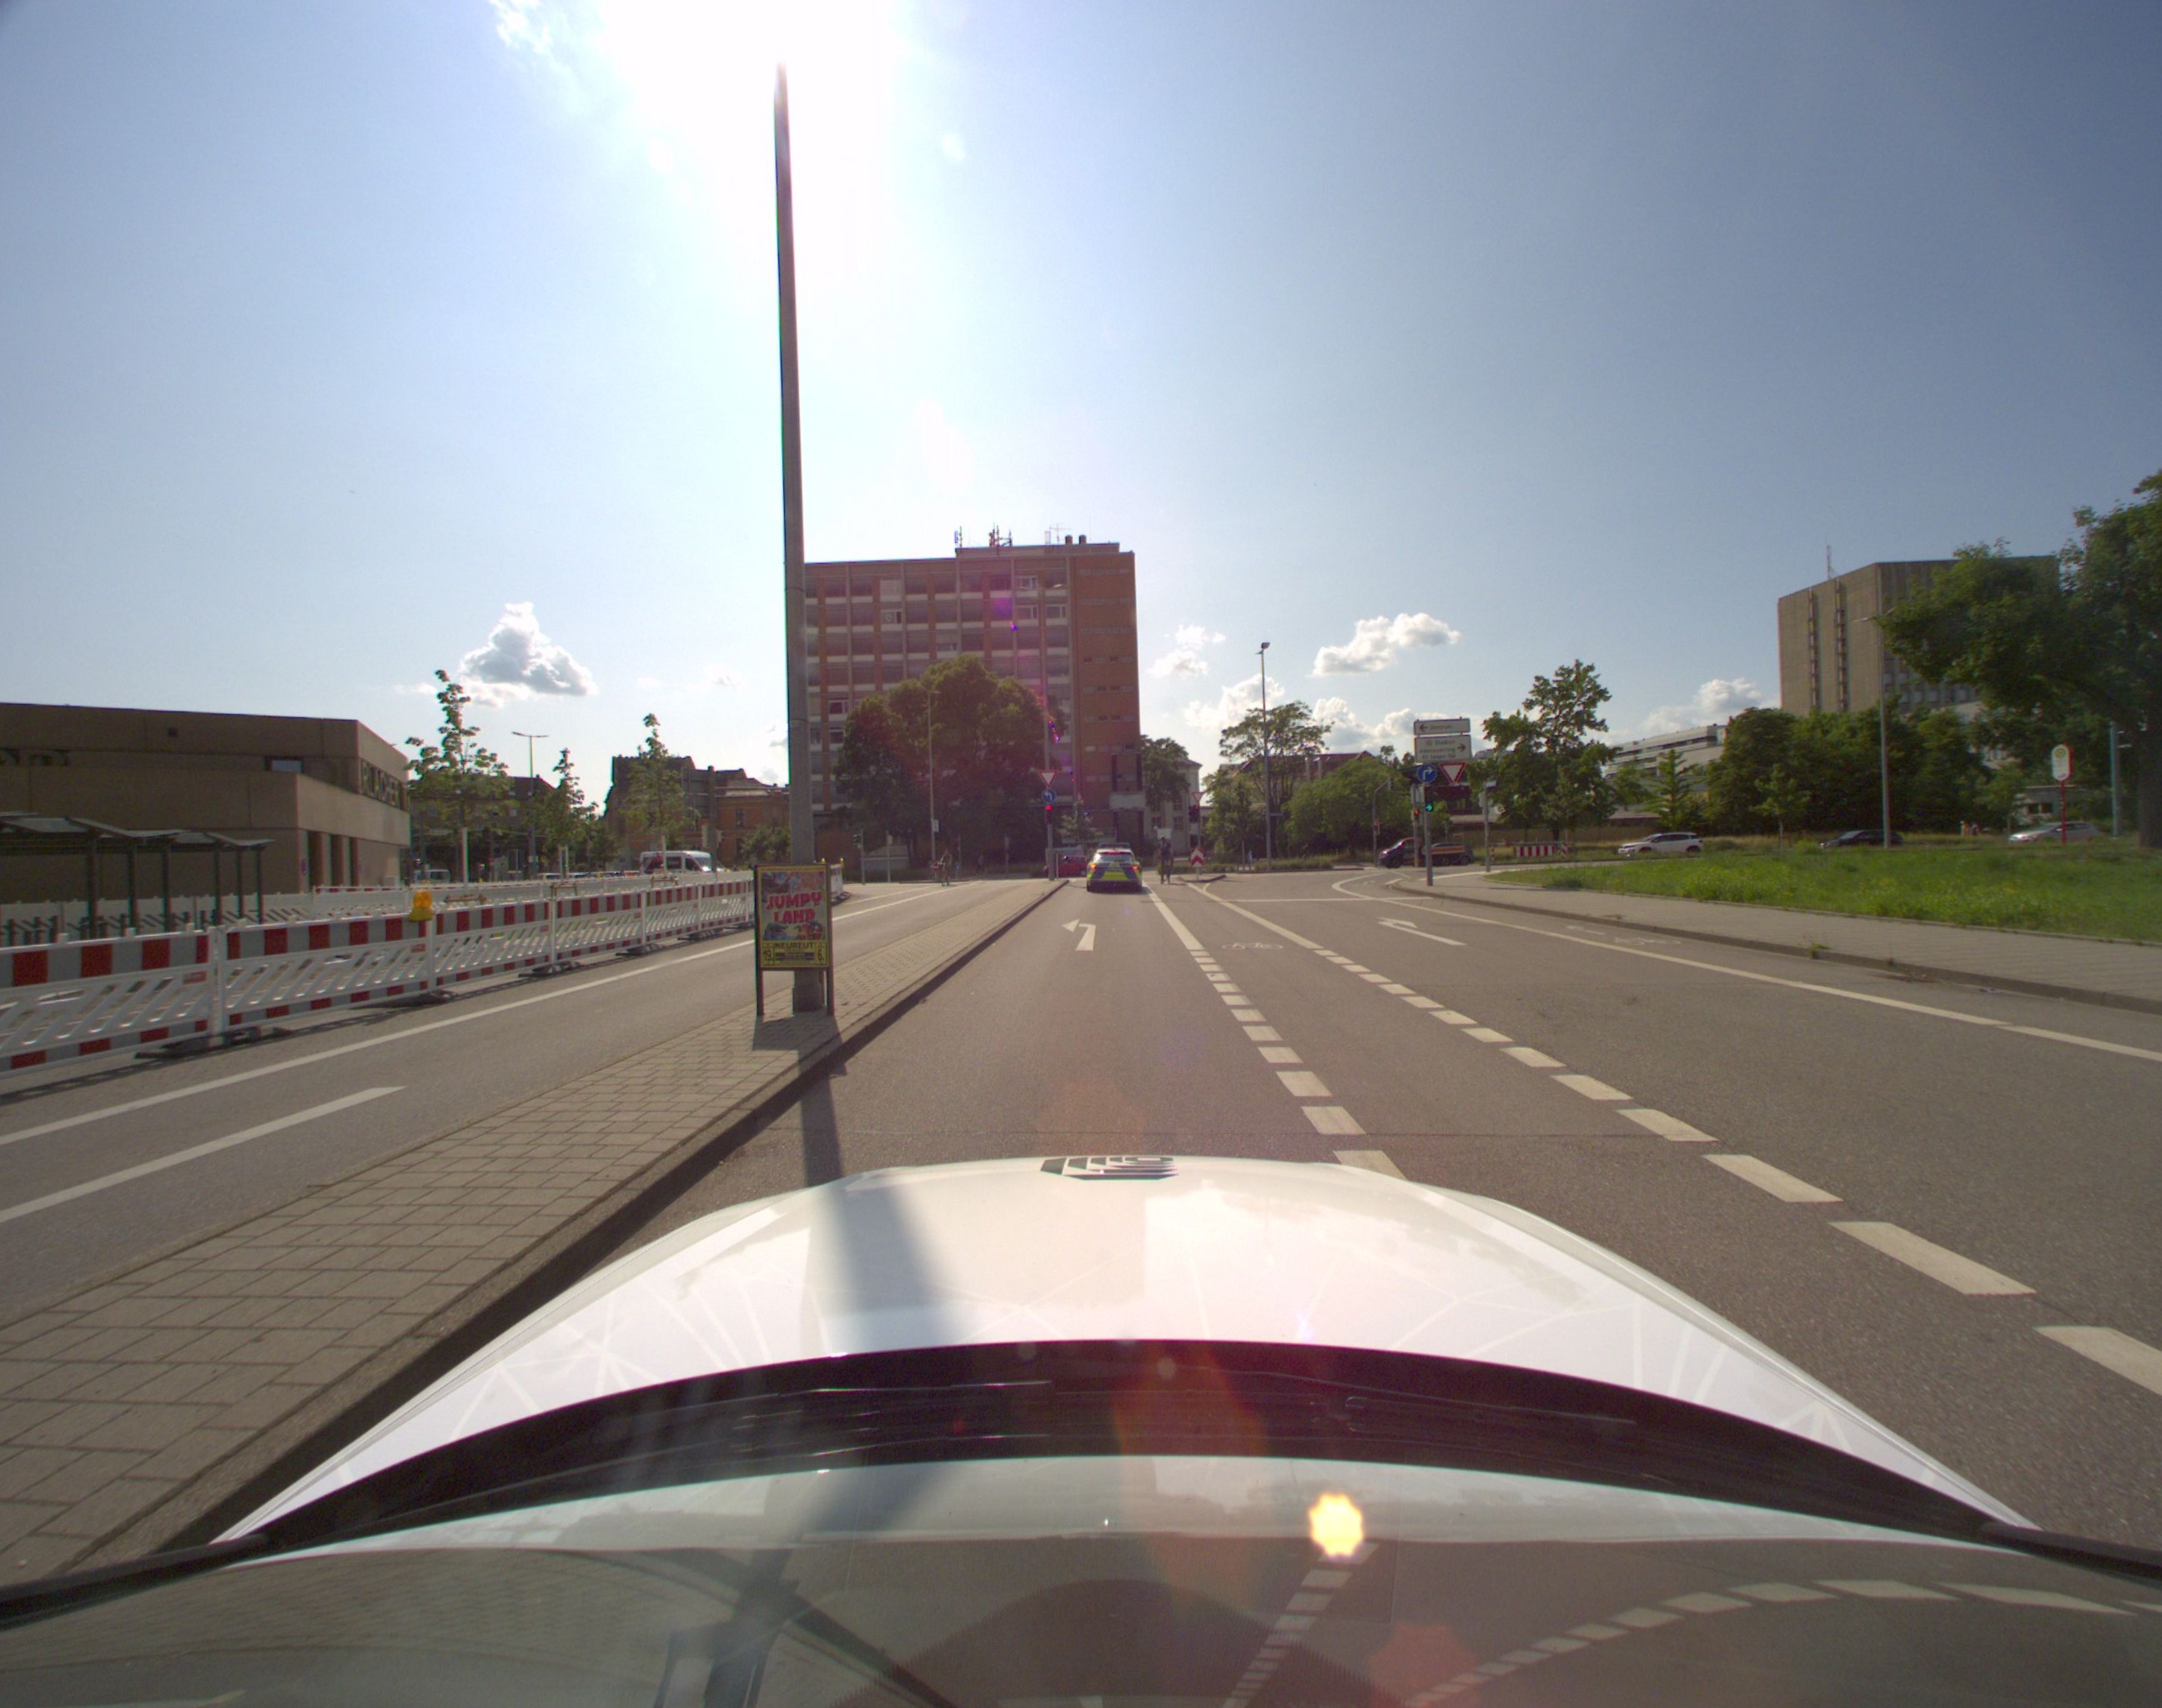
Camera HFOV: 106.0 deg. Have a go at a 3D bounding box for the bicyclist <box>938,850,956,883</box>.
[{"bbox_3d":[-6.255,0.580,38.027,0.631,1.470,0.840,-2,1,2],"label":"bicyclist"}]

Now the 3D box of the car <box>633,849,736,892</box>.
[{"bbox_3d":[-23.897,0.974,49.062,5.523,2.319,2.313,-2,0,20],"label":"car"}]

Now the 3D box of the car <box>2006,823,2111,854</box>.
[{"bbox_3d":[57.451,-0.909,47.925,3.891,1.609,1.629,-2,0,6],"label":"car"}]

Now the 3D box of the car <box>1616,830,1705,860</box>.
[{"bbox_3d":[35.197,-0.548,49.545,4.131,1.609,1.628,-2,0,5],"label":"car"}]

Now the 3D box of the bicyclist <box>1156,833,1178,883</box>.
[{"bbox_3d":[3.433,0.152,32.591,0.715,1.973,0.840,-2,1,1],"label":"bicyclist"}]

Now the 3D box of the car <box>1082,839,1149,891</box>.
[{"bbox_3d":[1.182,0.337,28.265,2.122,1.684,4.104,0,0,2],"label":"car"}]

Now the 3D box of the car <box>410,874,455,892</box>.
[{"bbox_3d":[-66.878,3.013,83.957,3.690,1.691,2.065,-2,0,23],"label":"car"}]

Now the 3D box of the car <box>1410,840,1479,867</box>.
[{"bbox_3d":[24.199,-0.055,54.285,3.887,1.609,1.631,-2,0,10],"label":"car"}]

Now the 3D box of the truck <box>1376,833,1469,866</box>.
[{"bbox_3d":[21.540,-0.303,51.517,5.084,1.837,2.006,-2,0,10],"label":"truck"}]

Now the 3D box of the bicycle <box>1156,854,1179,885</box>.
[{"bbox_3d":[3.446,0.601,32.609,0.718,1.084,2.192,-2,1,2],"label":"bicycle"}]

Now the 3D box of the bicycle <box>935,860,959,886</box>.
[{"bbox_3d":[-6.244,0.883,38.011,0.631,1.084,2.192,-2,1,2],"label":"bicycle"}]

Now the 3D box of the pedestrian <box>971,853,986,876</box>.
[{"bbox_3d":[-8.581,0.878,68.202,0.939,1.883,0.909,-2,0,5],"label":"pedestrian"}]

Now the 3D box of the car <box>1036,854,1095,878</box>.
[{"bbox_3d":[-1.062,0.819,56.310,3.697,1.456,1.632,-2,0,14],"label":"car"}]

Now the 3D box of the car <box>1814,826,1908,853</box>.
[{"bbox_3d":[46.593,-0.833,48.685,3.893,1.419,1.628,-2,0,5],"label":"car"}]
